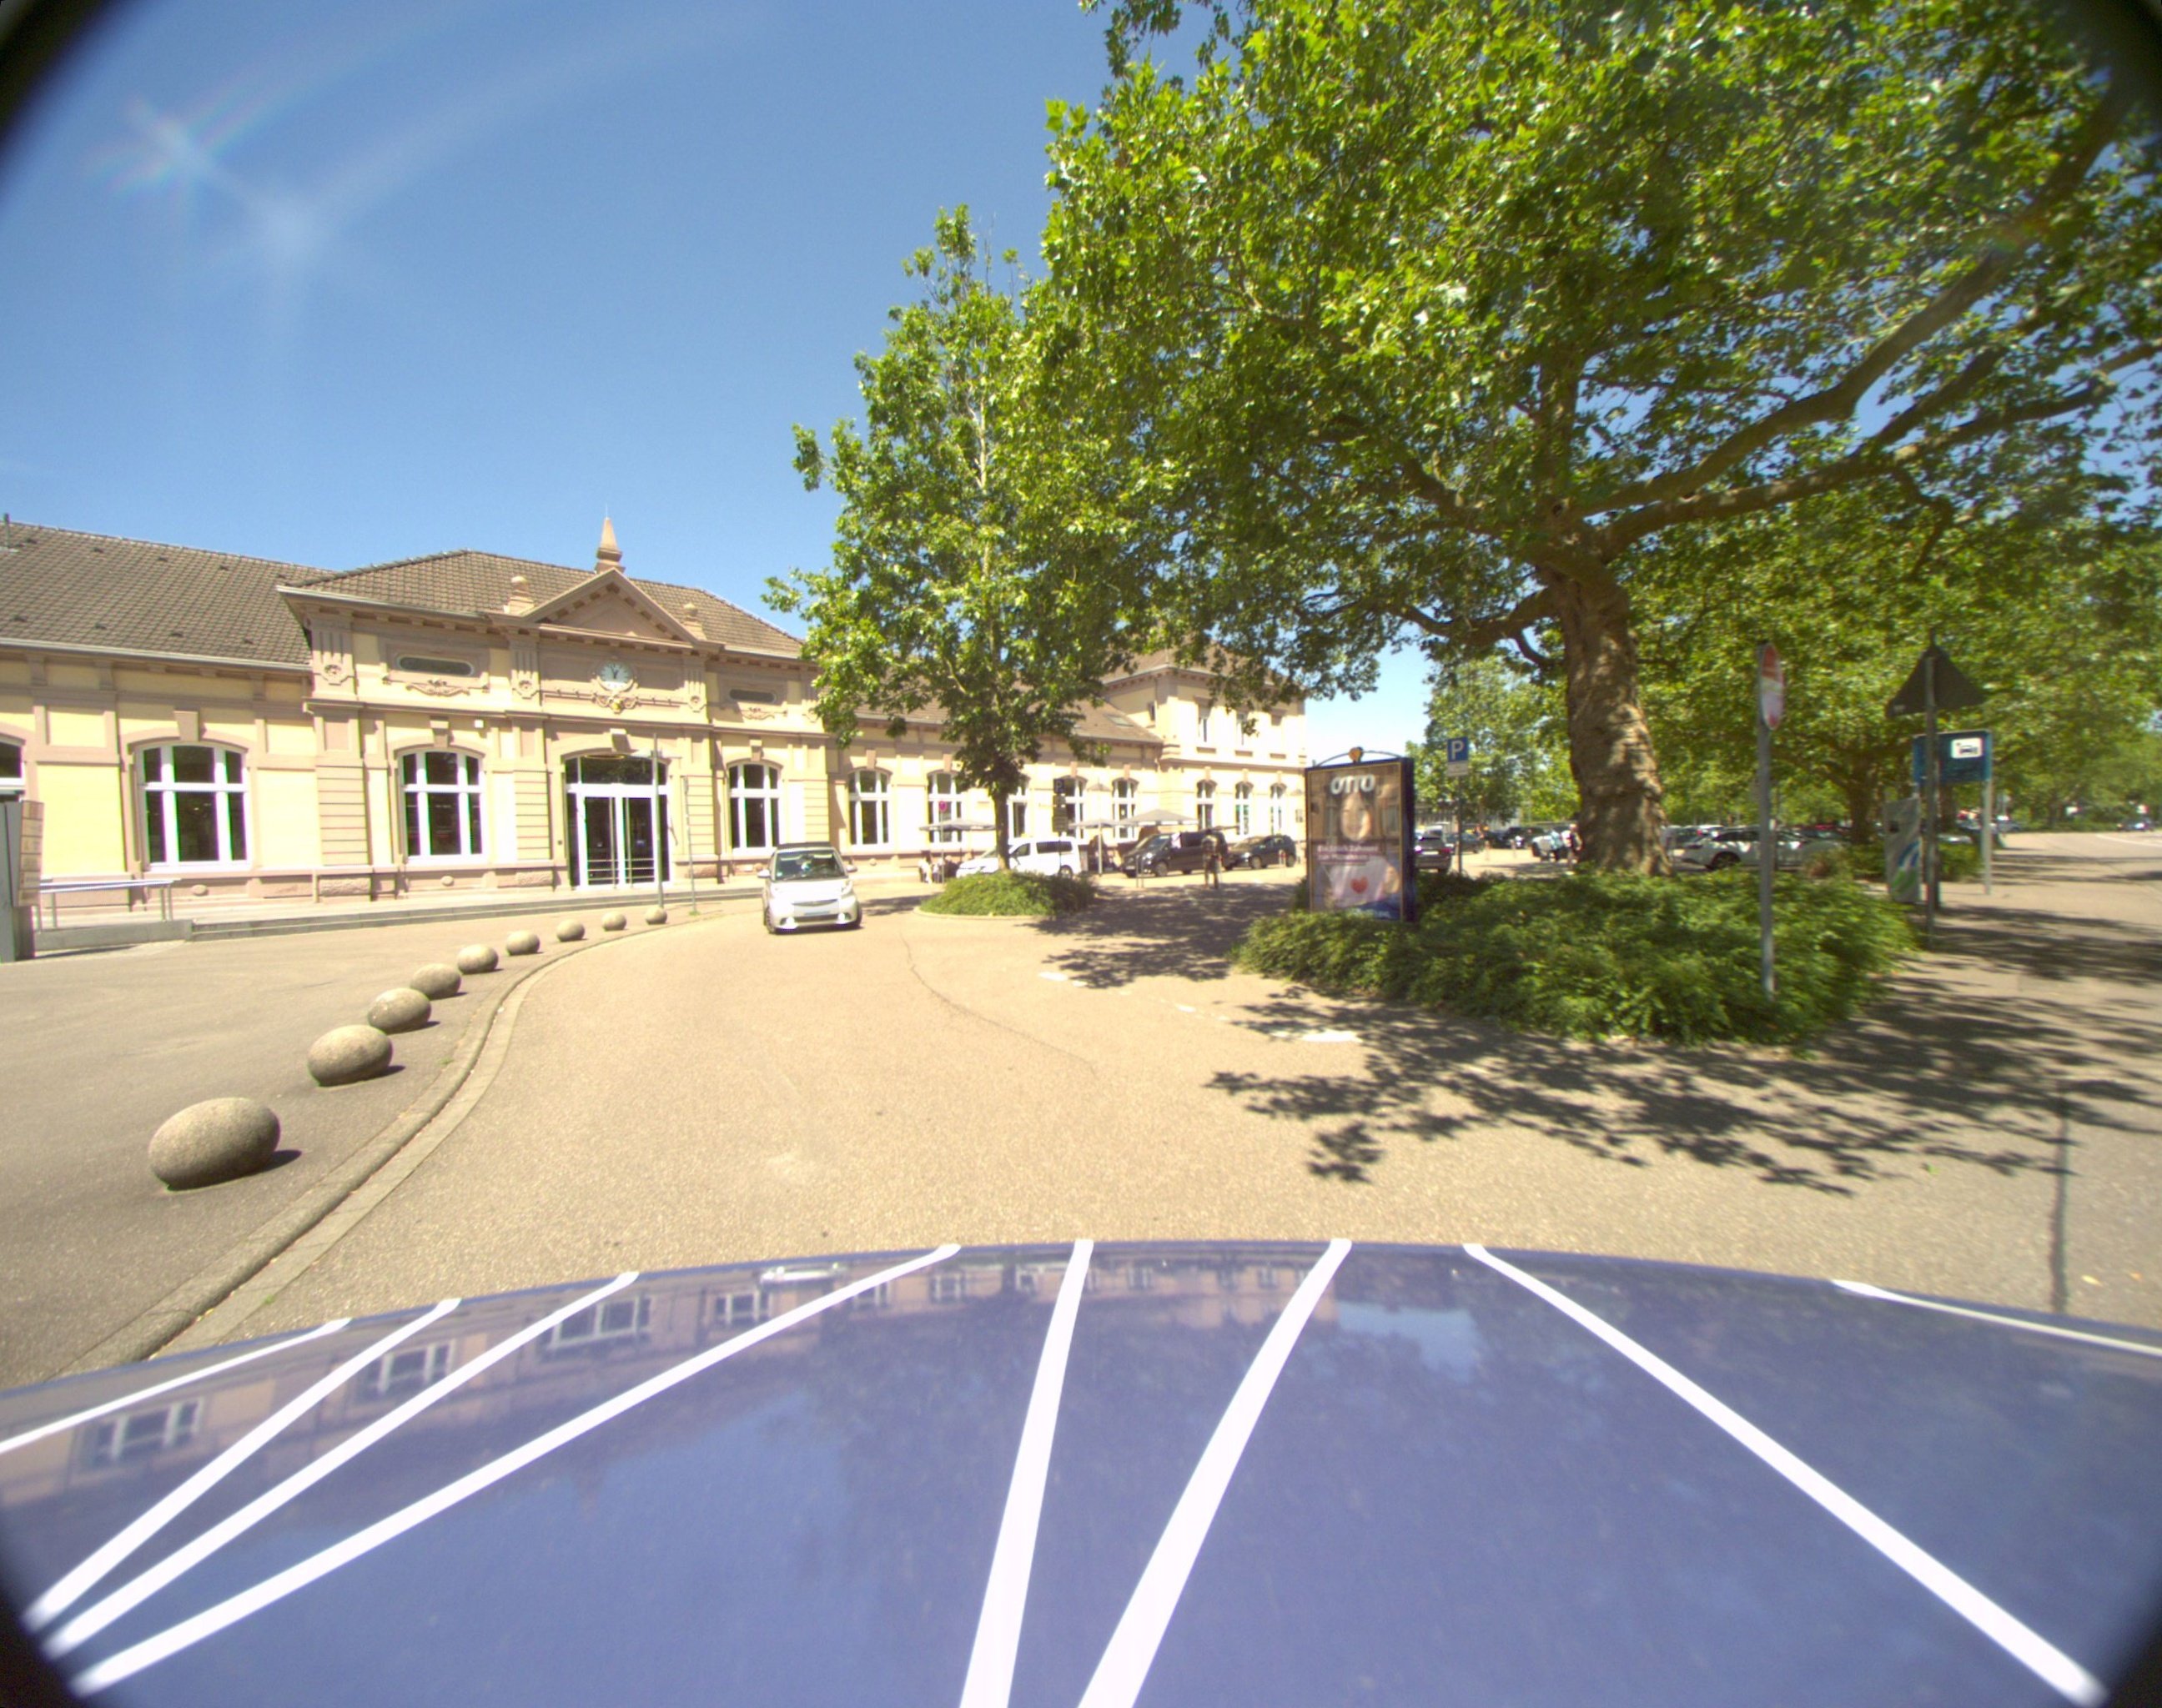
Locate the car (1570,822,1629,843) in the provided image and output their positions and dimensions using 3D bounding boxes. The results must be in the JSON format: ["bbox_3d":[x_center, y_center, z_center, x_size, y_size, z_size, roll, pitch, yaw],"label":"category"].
[{"bbox_3d":[36.216,-1.490,53.208,1.802,1.395,3.512,-2,1,1],"label":"car"}]

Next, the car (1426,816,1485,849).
[{"bbox_3d":[25.015,-1.434,50.682,4.611,1.978,1.999,-3,0,-44],"label":"car"}]

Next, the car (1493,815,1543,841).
[{"bbox_3d":[35.093,-2.089,61.000,4.254,1.779,1.995,-4,0,-38],"label":"car"}]

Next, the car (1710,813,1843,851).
[{"bbox_3d":[29.720,-0.925,32.617,3.867,1.452,1.638,-1,2,23],"label":"car"}]

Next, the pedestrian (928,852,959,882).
[{"bbox_3d":[-5.508,0.512,30.415,0.853,1.155,0.879,-3,4,-43],"label":"pedestrian"}]

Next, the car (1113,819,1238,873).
[{"bbox_3d":[4.164,-0.391,32.677,5.837,2.112,2.088,-2,1,-44],"label":"car"}]

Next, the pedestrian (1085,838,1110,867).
[{"bbox_3d":[0.802,-0.093,37.069,0.853,1.364,0.879,-3,4,-43],"label":"pedestrian"}]

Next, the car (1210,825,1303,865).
[{"bbox_3d":[8.627,-0.463,37.015,4.850,1.829,2.075,-2,0,-44],"label":"car"}]

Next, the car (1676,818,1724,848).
[{"bbox_3d":[41.243,-1.430,50.702,1.734,1.883,4.006,-1,2,28],"label":"car"}]

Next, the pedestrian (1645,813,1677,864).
[{"bbox_3d":[20.543,-0.562,26.928,0.836,1.760,0.853,-1,2,32],"label":"pedestrian"}]

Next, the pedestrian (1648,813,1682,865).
[{"bbox_3d":[20.001,-0.518,26.040,0.836,1.760,0.853,-1,2,31],"label":"pedestrian"}]

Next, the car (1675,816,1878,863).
[{"bbox_3d":[22.920,-0.467,25.332,4.765,1.409,1.789,-1,2,32],"label":"car"}]

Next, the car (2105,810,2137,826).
[{"bbox_3d":[102.756,-3.578,75.092,3.456,1.368,1.658,-3,-1,-33],"label":"car"}]

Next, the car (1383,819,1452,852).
[{"bbox_3d":[20.732,-1.165,46.701,5.328,1.829,1.999,-3,0,-44],"label":"car"}]

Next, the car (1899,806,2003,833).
[{"bbox_3d":[52.282,-2.060,45.749,3.865,1.452,1.639,-1,2,38],"label":"car"}]

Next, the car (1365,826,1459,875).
[{"bbox_3d":[12.132,-0.211,28.194,1.799,1.534,4.529,-3,3,5],"label":"car"}]

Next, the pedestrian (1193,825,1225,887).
[{"bbox_3d":[3.643,0.045,21.722,0.773,1.707,0.815,-2,2,4],"label":"pedestrian"}]

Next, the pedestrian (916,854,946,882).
[{"bbox_3d":[-6.139,0.569,31.112,0.853,1.074,0.879,-3,4,-43],"label":"pedestrian"}]

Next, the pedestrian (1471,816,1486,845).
[{"bbox_3d":[27.316,-1.600,52.201,0.618,1.978,0.627,-4,1,-44],"label":"pedestrian"}]

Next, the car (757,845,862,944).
[{"bbox_3d":[-5.117,0.662,14.346,1.603,1.584,3.100,-3,2,-20],"label":"car"}]

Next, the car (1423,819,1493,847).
[{"bbox_3d":[32.884,-1.818,66.353,2.055,2.108,4.952,-4,0,-40],"label":"car"}]

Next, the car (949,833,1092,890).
[{"bbox_3d":[-2.136,0.226,28.104,5.148,1.855,1.810,-2,1,-41],"label":"car"}]

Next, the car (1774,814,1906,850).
[{"bbox_3d":[34.018,-0.974,34.182,3.867,1.452,1.638,-1,2,23],"label":"car"}]

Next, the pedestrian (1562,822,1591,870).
[{"bbox_3d":[16.290,-0.258,24.981,0.611,1.539,0.588,-3,3,-30],"label":"pedestrian"}]

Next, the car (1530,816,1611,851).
[{"bbox_3d":[24.872,-1.098,38.772,1.798,1.596,4.063,-3,3,6],"label":"car"}]
